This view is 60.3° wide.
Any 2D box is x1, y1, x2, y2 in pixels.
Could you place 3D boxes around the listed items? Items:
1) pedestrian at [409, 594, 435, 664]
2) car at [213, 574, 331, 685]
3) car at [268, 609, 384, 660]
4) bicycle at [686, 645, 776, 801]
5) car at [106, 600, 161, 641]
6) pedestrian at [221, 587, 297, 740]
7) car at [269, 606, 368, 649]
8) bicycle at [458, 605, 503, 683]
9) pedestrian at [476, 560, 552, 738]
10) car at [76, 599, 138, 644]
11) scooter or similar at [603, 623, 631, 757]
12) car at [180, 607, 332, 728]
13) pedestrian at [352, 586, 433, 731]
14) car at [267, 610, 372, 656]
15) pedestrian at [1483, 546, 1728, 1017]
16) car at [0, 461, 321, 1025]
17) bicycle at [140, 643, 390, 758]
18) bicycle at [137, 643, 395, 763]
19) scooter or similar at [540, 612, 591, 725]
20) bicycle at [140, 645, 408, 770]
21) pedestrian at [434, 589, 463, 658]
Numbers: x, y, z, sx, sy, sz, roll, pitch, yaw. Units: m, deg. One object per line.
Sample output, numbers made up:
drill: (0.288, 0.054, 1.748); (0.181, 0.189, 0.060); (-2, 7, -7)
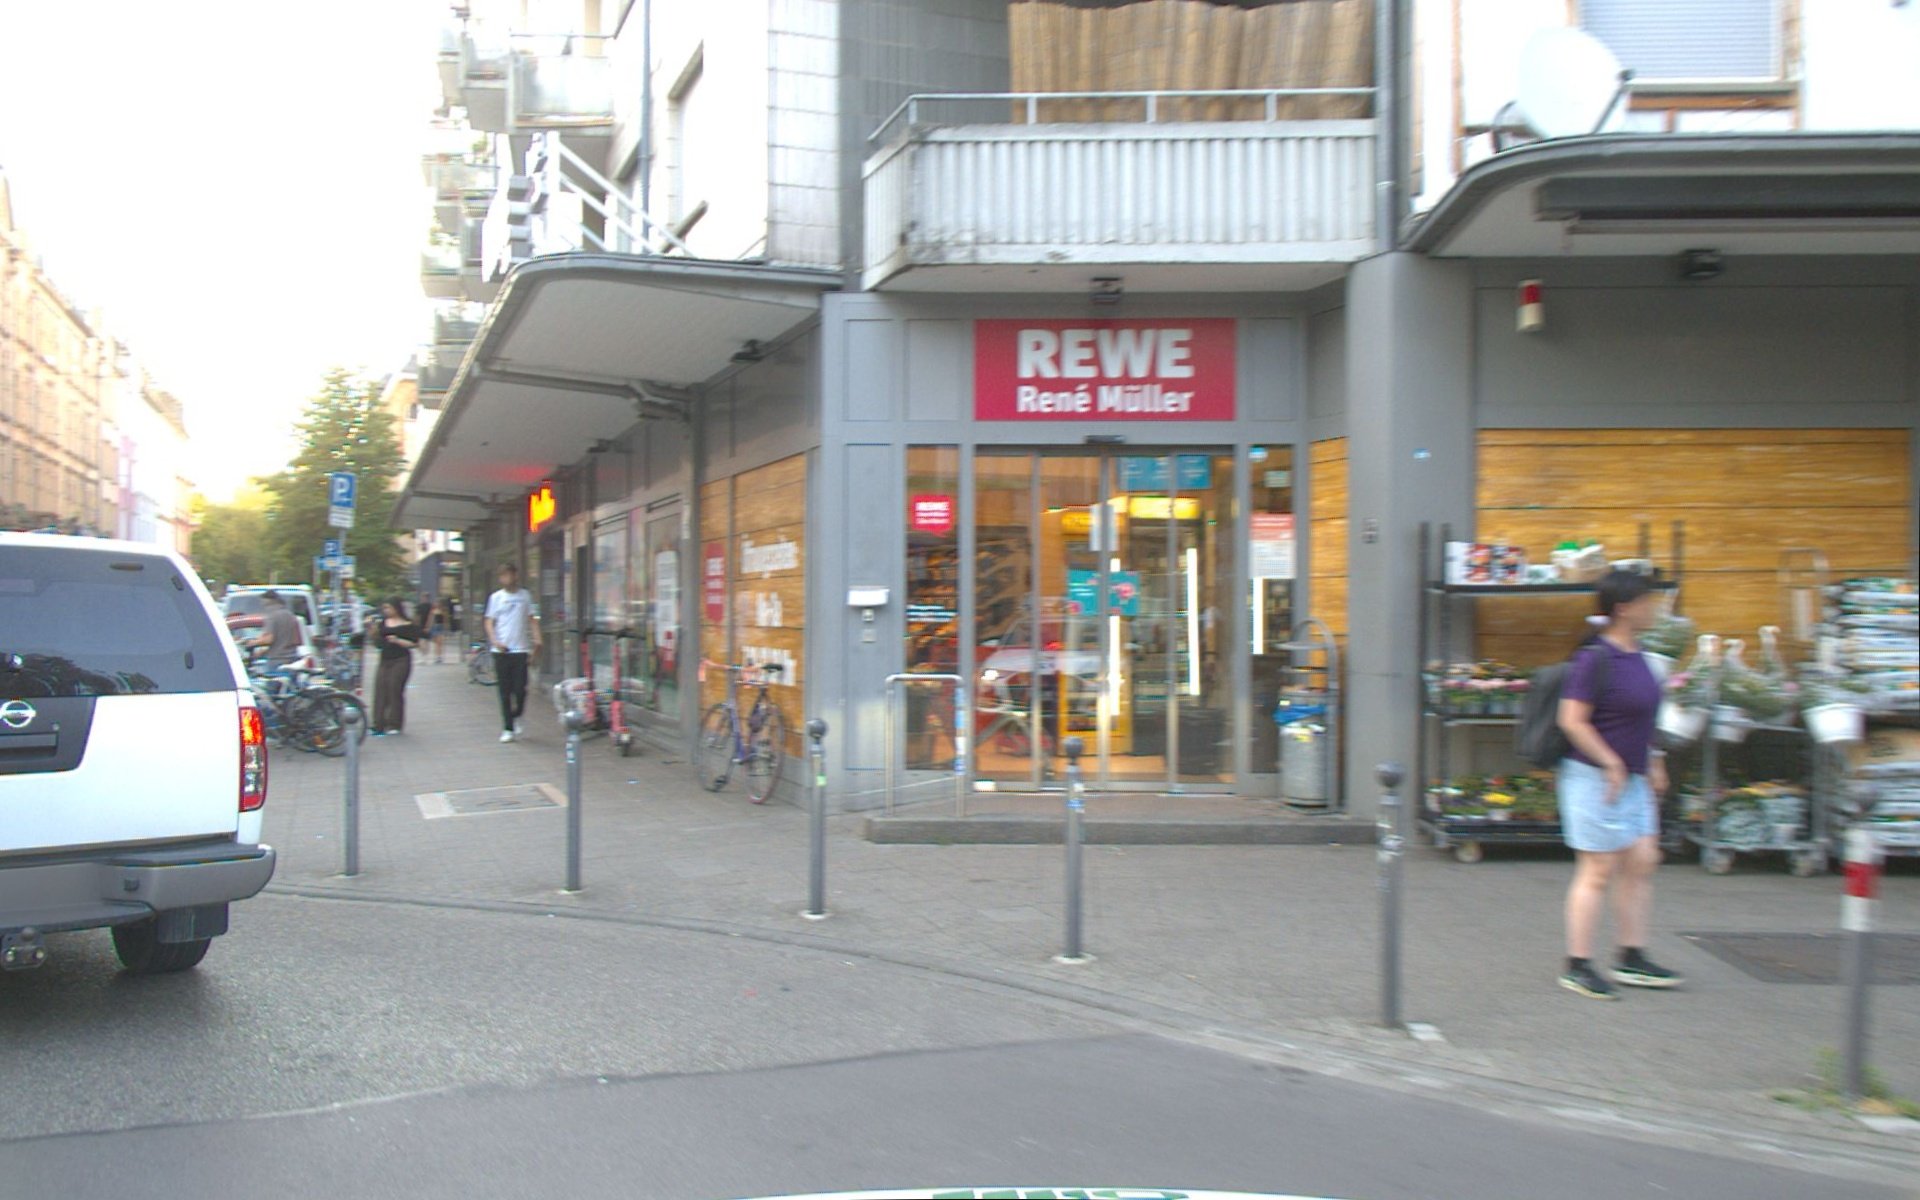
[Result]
pedestrian: (-14.565, 0.786, 44.823); (0.616, 1.843, 0.785); (2, -2, -18)
car: (-13.158, 0.566, 31.807); (1.915, 1.968, 3.974); (2, -1, -21)
car: (-23.442, 1.293, 61.214); (3.931, 1.780, 1.828); (2, -1, -22)
bicycle: (-1.761, 0.918, 12.646); (0.286, 1.132, 0.955); (2, -2, -33)
car: (-38.004, 0.957, 76.129); (1.809, 1.780, 3.974); (2, -1, -21)
pedestrian: (-7.953, 0.719, 18.799); (0.709, 1.692, 0.698); (2, -2, -21)
car: (-28.061, 1.203, 72.438); (3.931, 1.780, 1.828); (2, -1, -22)
bicycle: (-9.105, 0.819, 31.342); (0.548, 1.432, 2.080); (2, -1, -23)
pedestrian: (-4.999, 0.552, 18.513); (0.709, 1.940, 0.698); (2, -2, -21)
car: (-35.434, 0.890, 68.799); (1.809, 1.780, 3.974); (2, -1, -21)
scooter or similar: (-3.409, 0.874, 16.425); (0.215, 1.259, 0.963); (1, 1, -13)
car: (-9.990, 0.927, 23.673); (1.809, 1.569, 3.974); (2, -1, -21)
pedestrian: (-6.806, 0.695, 19.863); (0.705, 1.692, 0.702); (1, -1, -3)
car: (-26.459, 1.379, 68.367); (3.931, 1.780, 1.828); (2, -1, -22)
pedestrian: (2.508, 0.655, 6.410); (0.704, 1.681, 0.710); (0, -2, 38)
car: (-4.720, 0.534, 7.305); (1.928, 1.842, 4.923); (1, -2, -42)
bicycle: (-7.528, 1.063, 17.977); (2.431, 1.056, 0.611); (-3, 0, -26)
bicycle: (-7.258, 1.056, 17.369); (2.431, 1.056, 0.611); (-3, 0, -26)
scooter or similar: (-4.797, 0.808, 20.075); (0.433, 1.313, 1.659); (2, -1, -18)
bicycle: (-6.927, 1.059, 16.773); (2.431, 1.056, 0.612); (-3, 0, -26)
pedestrian: (-13.814, 0.639, 44.635); (0.623, 1.843, 0.483); (1, -2, -8)
